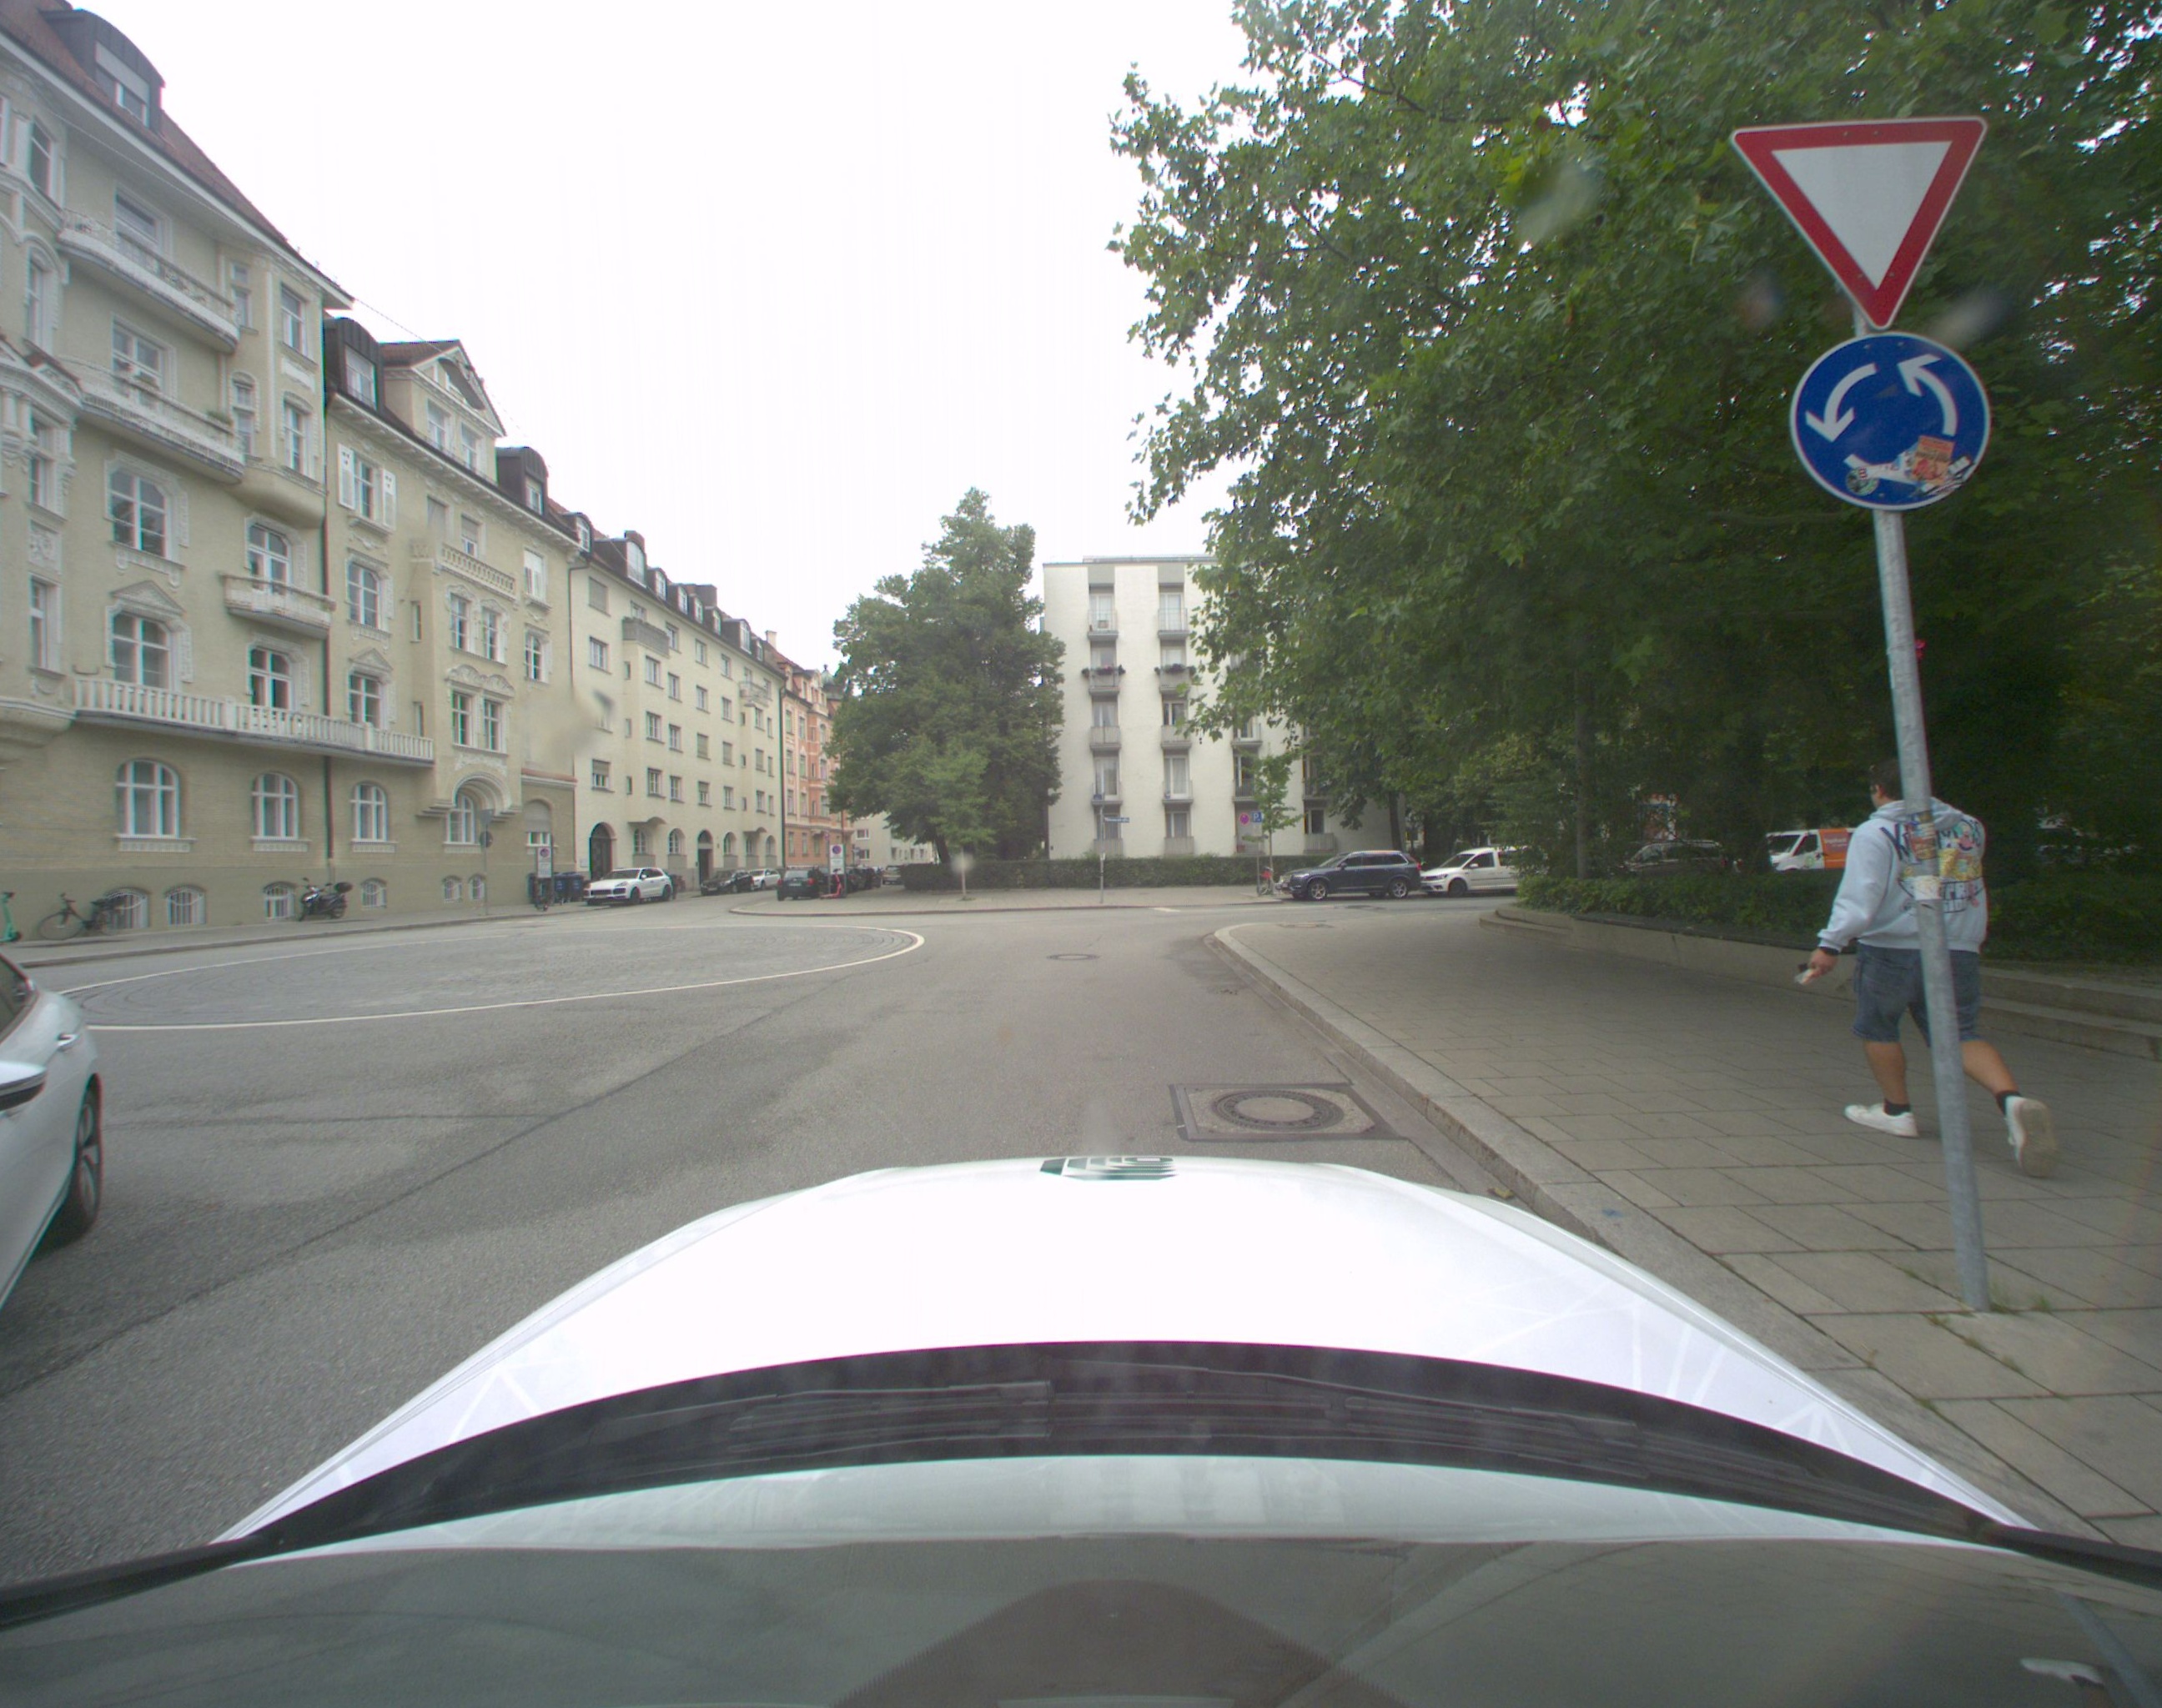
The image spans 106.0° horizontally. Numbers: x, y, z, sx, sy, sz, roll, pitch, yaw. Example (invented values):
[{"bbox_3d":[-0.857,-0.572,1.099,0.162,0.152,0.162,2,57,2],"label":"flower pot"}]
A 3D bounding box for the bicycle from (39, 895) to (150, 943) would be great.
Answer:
[{"bbox_3d":[-24.663,1.605,20.416,0.561,1.049,1.829,-2,0,-2],"label":"bicycle"}]

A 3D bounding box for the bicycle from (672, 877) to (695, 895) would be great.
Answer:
[{"bbox_3d":[-25.043,1.983,51.334,0.561,1.049,1.829,-2,0,-2],"label":"bicycle"}]

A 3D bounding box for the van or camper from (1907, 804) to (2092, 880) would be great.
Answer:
[{"bbox_3d":[37.502,-0.474,33.304,5.987,2.945,2.001,-1,-2,-8],"label":"van or camper"}]

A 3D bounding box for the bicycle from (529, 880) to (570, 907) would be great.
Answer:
[{"bbox_3d":[-22.471,1.670,34.485,0.561,1.049,1.829,-2,0,-2],"label":"bicycle"}]

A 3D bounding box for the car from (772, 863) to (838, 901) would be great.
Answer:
[{"bbox_3d":[-12.424,1.210,36.906,1.816,1.505,4.413,-3,0,-6],"label":"car"}]

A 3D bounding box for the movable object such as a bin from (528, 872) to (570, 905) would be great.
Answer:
[{"bbox_3d":[-24.323,1.577,37.236,1.087,1.425,1.173,-1,-1,1],"label":"movable object such as a bin"}]

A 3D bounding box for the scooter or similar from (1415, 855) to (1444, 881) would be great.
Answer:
[{"bbox_3d":[16.348,0.670,38.223,1.208,1.193,0.399,-1,-1,-3],"label":"scooter or similar"}]

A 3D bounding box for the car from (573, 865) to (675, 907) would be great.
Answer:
[{"bbox_3d":[-20.562,1.364,36.899,1.970,1.701,4.837,-1,0,-2],"label":"car"}]

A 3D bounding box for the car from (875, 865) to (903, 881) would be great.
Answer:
[{"bbox_3d":[-21.224,2.100,90.137,1.968,1.581,4.408,-1,0,1],"label":"car"}]

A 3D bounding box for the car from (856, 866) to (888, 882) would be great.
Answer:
[{"bbox_3d":[-21.176,2.003,82.589,1.968,1.581,4.408,-1,0,1],"label":"car"}]

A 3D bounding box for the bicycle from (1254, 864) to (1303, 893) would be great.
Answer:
[{"bbox_3d":[7.712,0.949,31.797,1.826,1.049,0.490,-2,0,-12],"label":"bicycle"}]

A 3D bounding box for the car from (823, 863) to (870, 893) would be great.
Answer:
[{"bbox_3d":[-13.391,1.341,46.696,1.791,1.505,4.106,-3,0,-6],"label":"car"}]

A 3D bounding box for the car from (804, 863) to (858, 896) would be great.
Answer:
[{"bbox_3d":[-12.873,1.275,42.142,1.791,1.505,4.226,-3,0,-6],"label":"car"}]

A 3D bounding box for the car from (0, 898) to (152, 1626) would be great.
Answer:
[{"bbox_3d":[-4.189,0.934,2.241,4.830,1.448,1.902,-2,-1,44],"label":"car"}]

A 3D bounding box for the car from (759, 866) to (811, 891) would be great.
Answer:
[{"bbox_3d":[-20.858,1.696,57.505,1.969,1.581,4.408,-1,0,1],"label":"car"}]

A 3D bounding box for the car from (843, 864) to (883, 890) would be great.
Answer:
[{"bbox_3d":[-13.983,1.425,52.450,1.791,1.505,4.106,-3,0,-6],"label":"car"}]

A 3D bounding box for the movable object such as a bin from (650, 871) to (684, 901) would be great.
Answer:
[{"bbox_3d":[-21.052,1.621,41.422,1.087,1.425,1.173,-1,-1,1],"label":"movable object such as a bin"}]

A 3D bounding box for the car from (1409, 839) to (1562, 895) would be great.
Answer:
[{"bbox_3d":[14.901,0.484,30.115,4.828,1.918,1.831,-1,-2,-7],"label":"car"}]

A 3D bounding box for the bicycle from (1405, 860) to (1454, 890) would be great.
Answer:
[{"bbox_3d":[13.739,0.810,32.179,0.539,1.149,1.814,-1,0,-28],"label":"bicycle"}]

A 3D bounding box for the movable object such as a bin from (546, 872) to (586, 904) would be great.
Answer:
[{"bbox_3d":[-24.299,1.581,38.433,1.087,1.425,1.173,-1,-1,1],"label":"movable object such as a bin"}]

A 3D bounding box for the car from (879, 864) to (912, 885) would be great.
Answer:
[{"bbox_3d":[-14.412,1.571,63.549,1.831,1.505,4.109,-3,0,-4],"label":"car"}]

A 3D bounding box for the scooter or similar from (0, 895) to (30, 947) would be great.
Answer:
[{"bbox_3d":[-24.398,1.507,18.376,0.469,1.115,1.203,-1,-1,-33],"label":"scooter or similar"}]

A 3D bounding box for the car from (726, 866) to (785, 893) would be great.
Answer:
[{"bbox_3d":[-20.853,1.630,52.338,1.969,1.581,4.408,-1,0,0],"label":"car"}]

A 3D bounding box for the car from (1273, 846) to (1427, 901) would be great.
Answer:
[{"bbox_3d":[9.658,0.693,29.424,4.890,1.792,1.996,-1,-1,-6],"label":"car"}]

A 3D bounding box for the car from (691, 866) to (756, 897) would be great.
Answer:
[{"bbox_3d":[-20.753,1.550,47.457,1.972,1.616,4.705,-1,0,-4],"label":"car"}]

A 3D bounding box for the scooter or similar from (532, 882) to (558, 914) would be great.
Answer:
[{"bbox_3d":[-20.851,1.713,31.680,1.200,1.193,0.470,-1,-1,38],"label":"scooter or similar"}]

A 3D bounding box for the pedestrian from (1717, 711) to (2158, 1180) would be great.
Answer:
[{"bbox_3d":[3.693,0.356,3.664,0.868,1.771,1.055,-2,-1,9],"label":"pedestrian"}]

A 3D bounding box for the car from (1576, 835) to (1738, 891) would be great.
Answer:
[{"bbox_3d":[21.817,0.345,30.931,5.191,1.933,1.887,-1,-2,-10],"label":"car"}]

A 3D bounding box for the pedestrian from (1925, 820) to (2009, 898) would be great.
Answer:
[{"bbox_3d":[21.386,0.120,19.674,1.047,1.831,0.874,-1,-1,-7],"label":"pedestrian"}]

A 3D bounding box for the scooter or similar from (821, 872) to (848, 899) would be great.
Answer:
[{"bbox_3d":[-10.362,1.330,34.216,1.005,1.088,0.387,-1,-1,-29],"label":"scooter or similar"}]

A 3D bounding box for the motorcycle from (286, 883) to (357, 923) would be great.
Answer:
[{"bbox_3d":[-24.587,1.575,26.405,0.596,1.176,1.829,-2,0,-2],"label":"motorcycle"}]

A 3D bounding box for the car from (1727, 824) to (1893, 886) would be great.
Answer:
[{"bbox_3d":[28.676,0.057,32.118,5.223,2.273,1.947,-1,-2,-8],"label":"car"}]

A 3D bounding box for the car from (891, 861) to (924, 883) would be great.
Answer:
[{"bbox_3d":[-14.474,1.468,68.161,1.829,1.634,4.115,-3,0,0],"label":"car"}]
